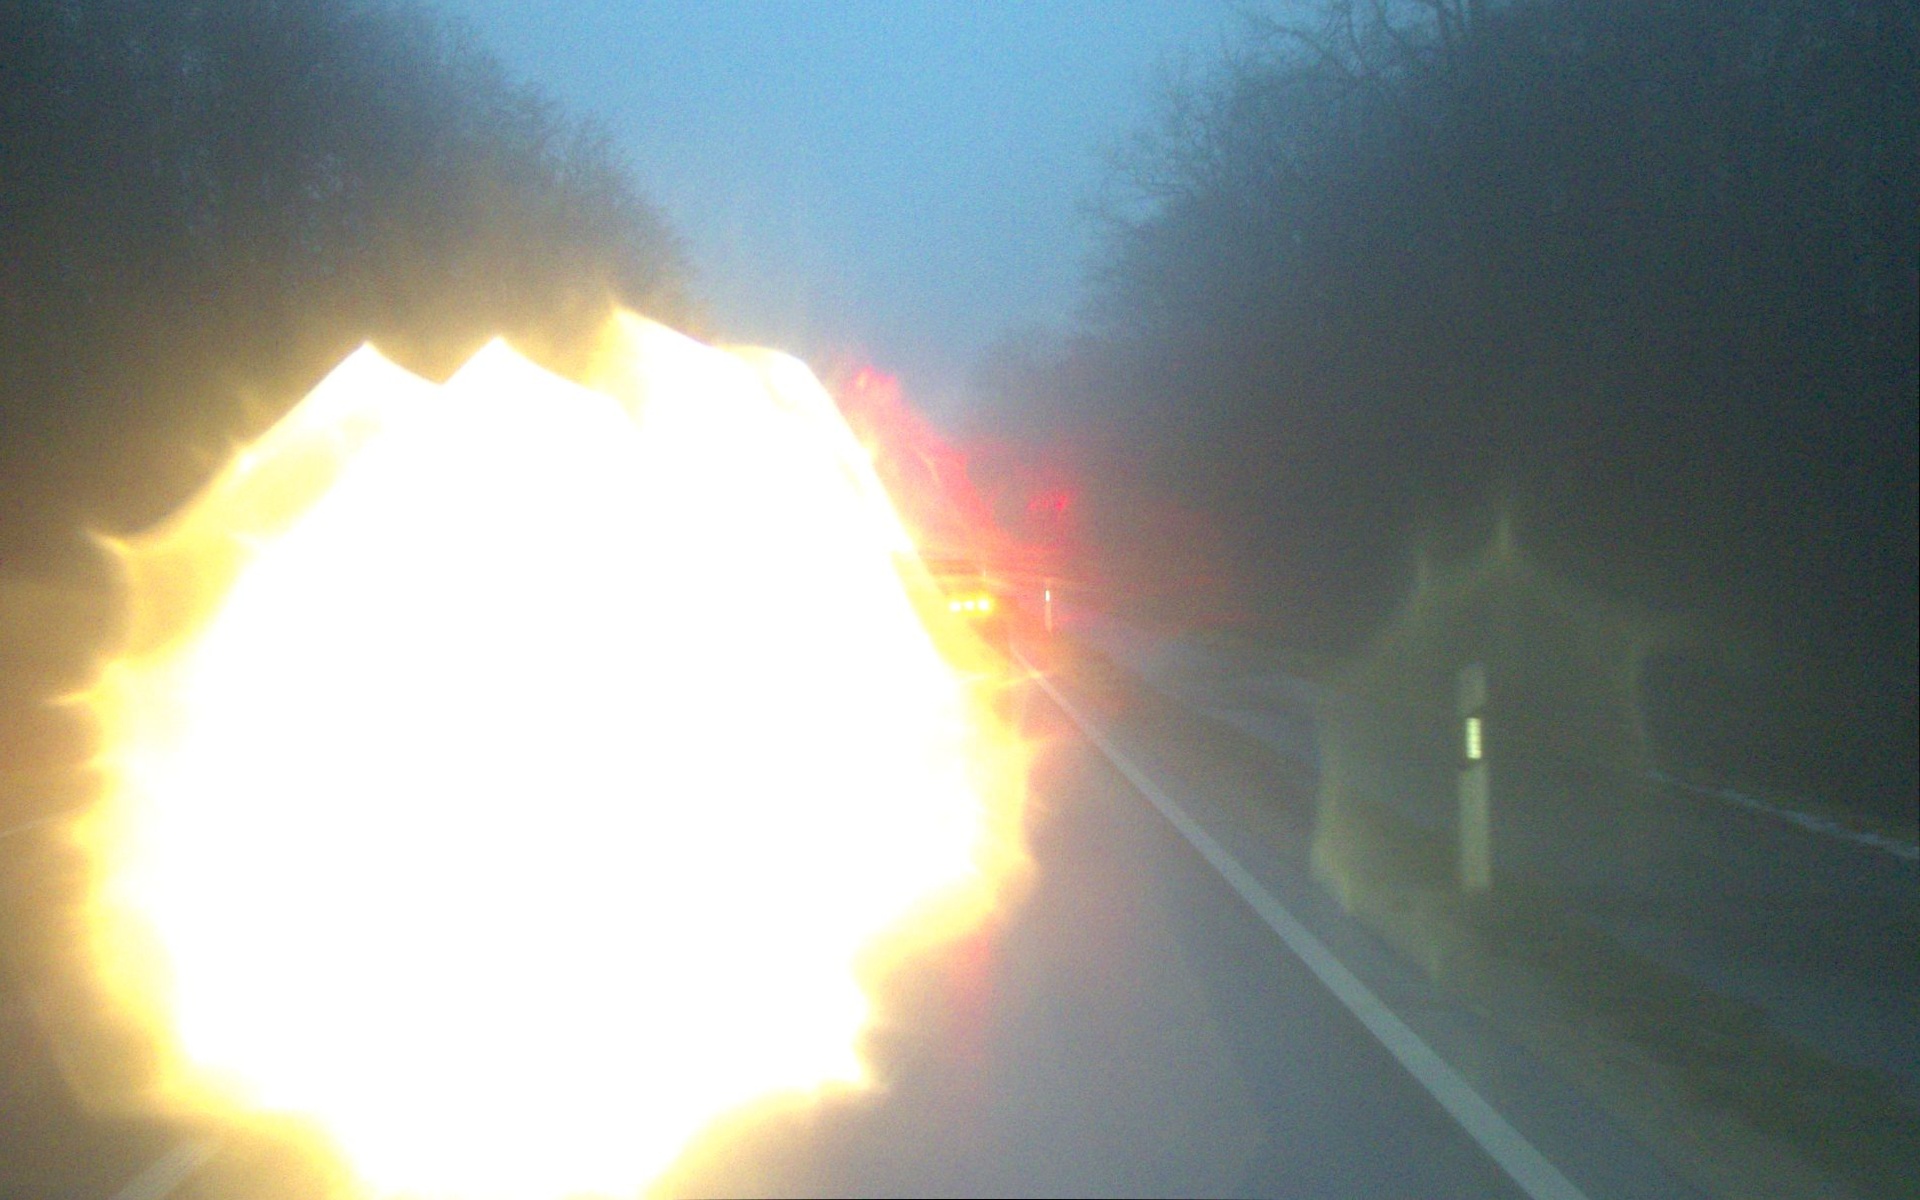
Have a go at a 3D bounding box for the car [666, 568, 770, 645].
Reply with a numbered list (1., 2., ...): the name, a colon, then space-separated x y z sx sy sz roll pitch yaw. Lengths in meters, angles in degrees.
1. car: -4.489 0.111 64.284 1.703 1.358 4.376 -1 0 -1

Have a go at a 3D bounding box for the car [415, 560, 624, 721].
1. car: -4.146 0.342 32.768 1.513 1.409 3.661 -1 1 0
